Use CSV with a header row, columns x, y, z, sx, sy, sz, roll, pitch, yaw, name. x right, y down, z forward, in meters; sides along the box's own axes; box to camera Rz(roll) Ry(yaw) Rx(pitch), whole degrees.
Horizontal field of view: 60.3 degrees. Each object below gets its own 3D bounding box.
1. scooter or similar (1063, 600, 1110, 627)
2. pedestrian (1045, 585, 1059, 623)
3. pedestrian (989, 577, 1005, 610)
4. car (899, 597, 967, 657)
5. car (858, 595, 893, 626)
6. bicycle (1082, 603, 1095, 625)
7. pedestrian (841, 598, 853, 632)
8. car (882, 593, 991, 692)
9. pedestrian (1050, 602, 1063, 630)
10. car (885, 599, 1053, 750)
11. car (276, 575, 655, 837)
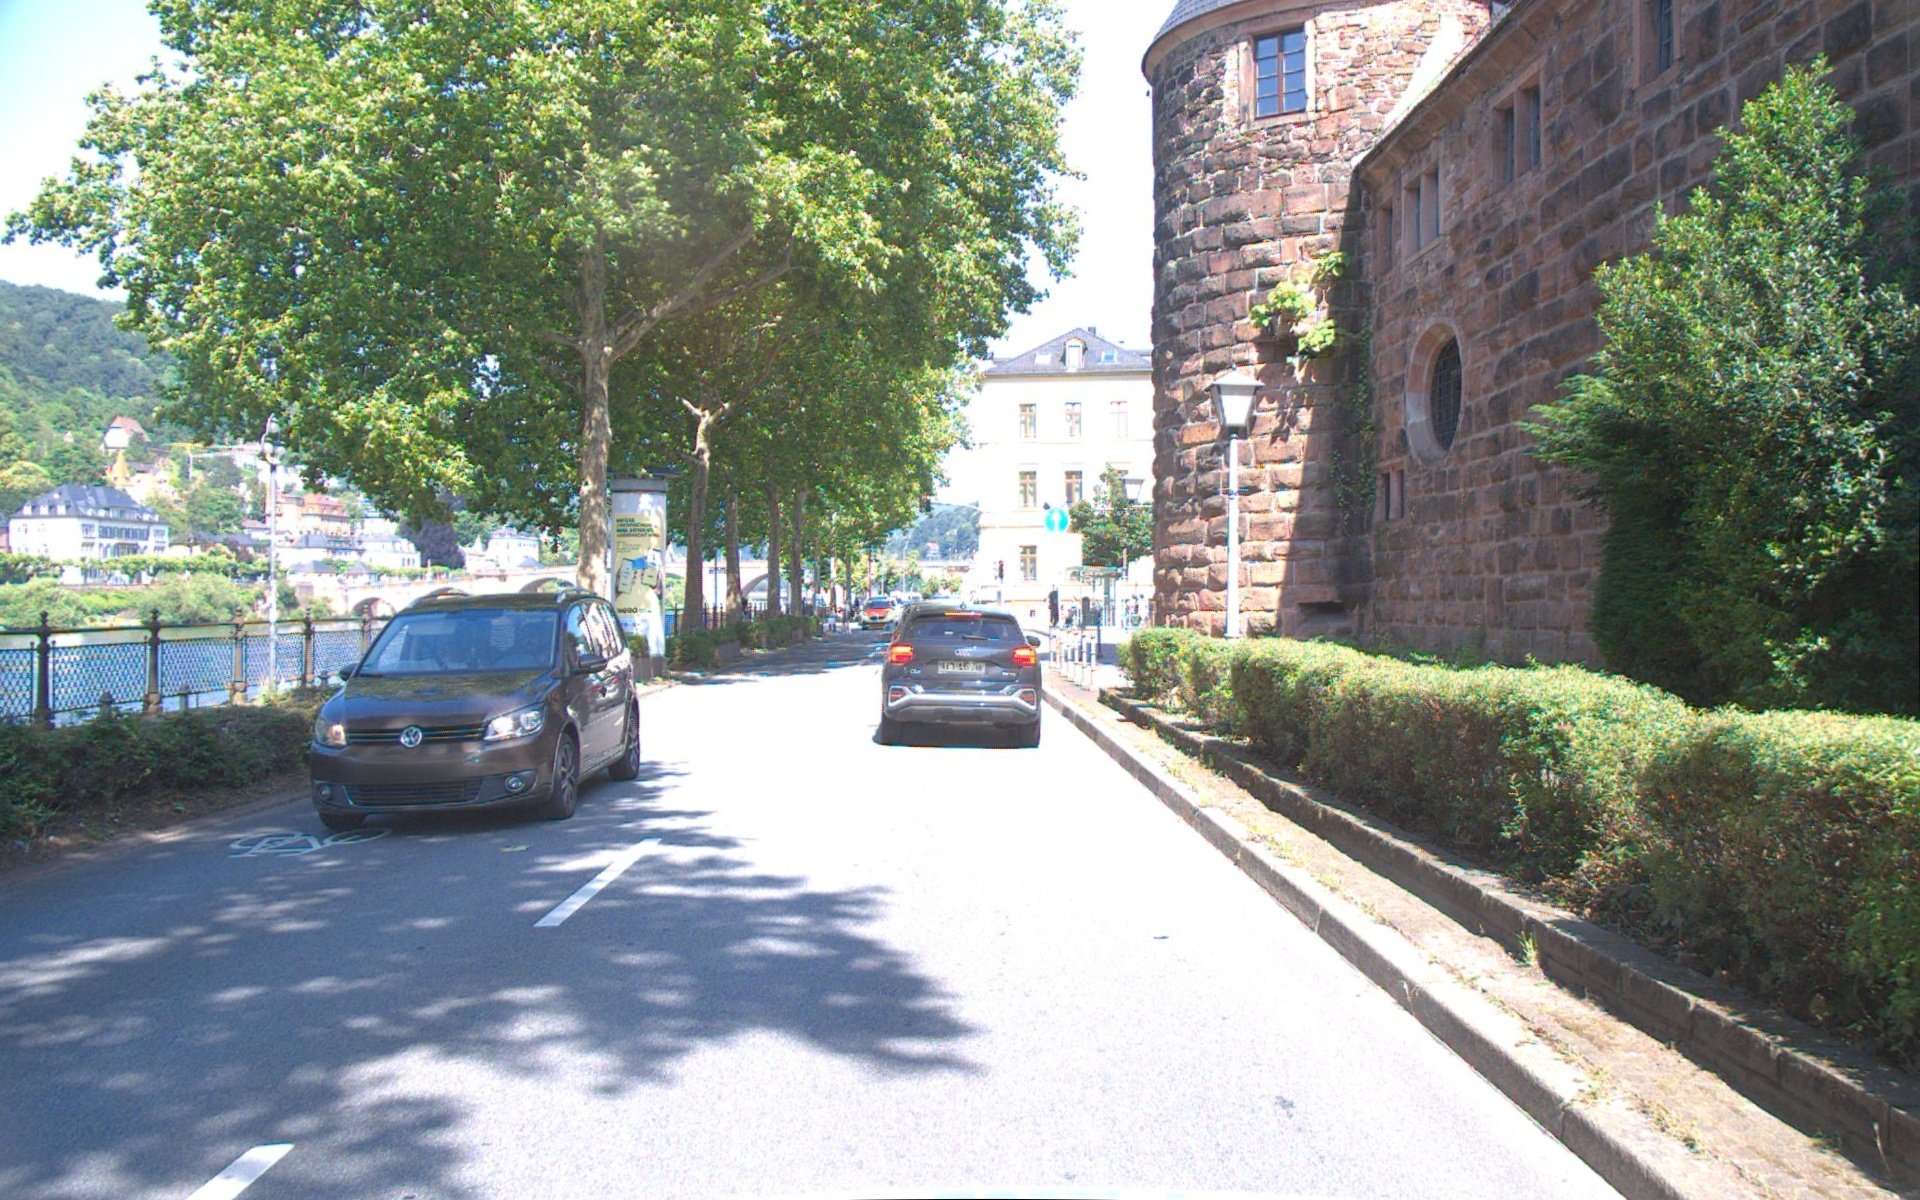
x,y,z,sx,sy,sz,roll,pitch,yaw,name
5.022,0.531,65.511,1.808,0.980,0.429,2,-1,-2,scooter or similar
4.058,0.167,72.978,0.545,1.661,0.660,1,-1,0,pedestrian
1.811,-0.311,80.684,0.731,1.585,0.588,1,-1,0,pedestrian
-0.719,0.707,45.004,1.764,1.549,3.715,0,0,0,car
-4.463,0.544,88.112,1.581,1.549,3.477,-1,0,1,car
5.913,0.645,76.126,0.441,0.992,1.399,2,0,0,bicycle
-5.587,0.743,81.806,0.507,1.666,0.438,-1,0,-8,pedestrian
-0.404,0.706,29.143,1.764,1.590,3.715,-1,0,0,car
4.325,0.710,74.013,0.535,1.222,0.522,2,-1,0,pedestrian
0.036,0.773,19.035,1.713,1.520,3.627,2,0,-2,car
-3.617,0.694,12.883,1.727,1.676,4.089,-1,0,-1,car
